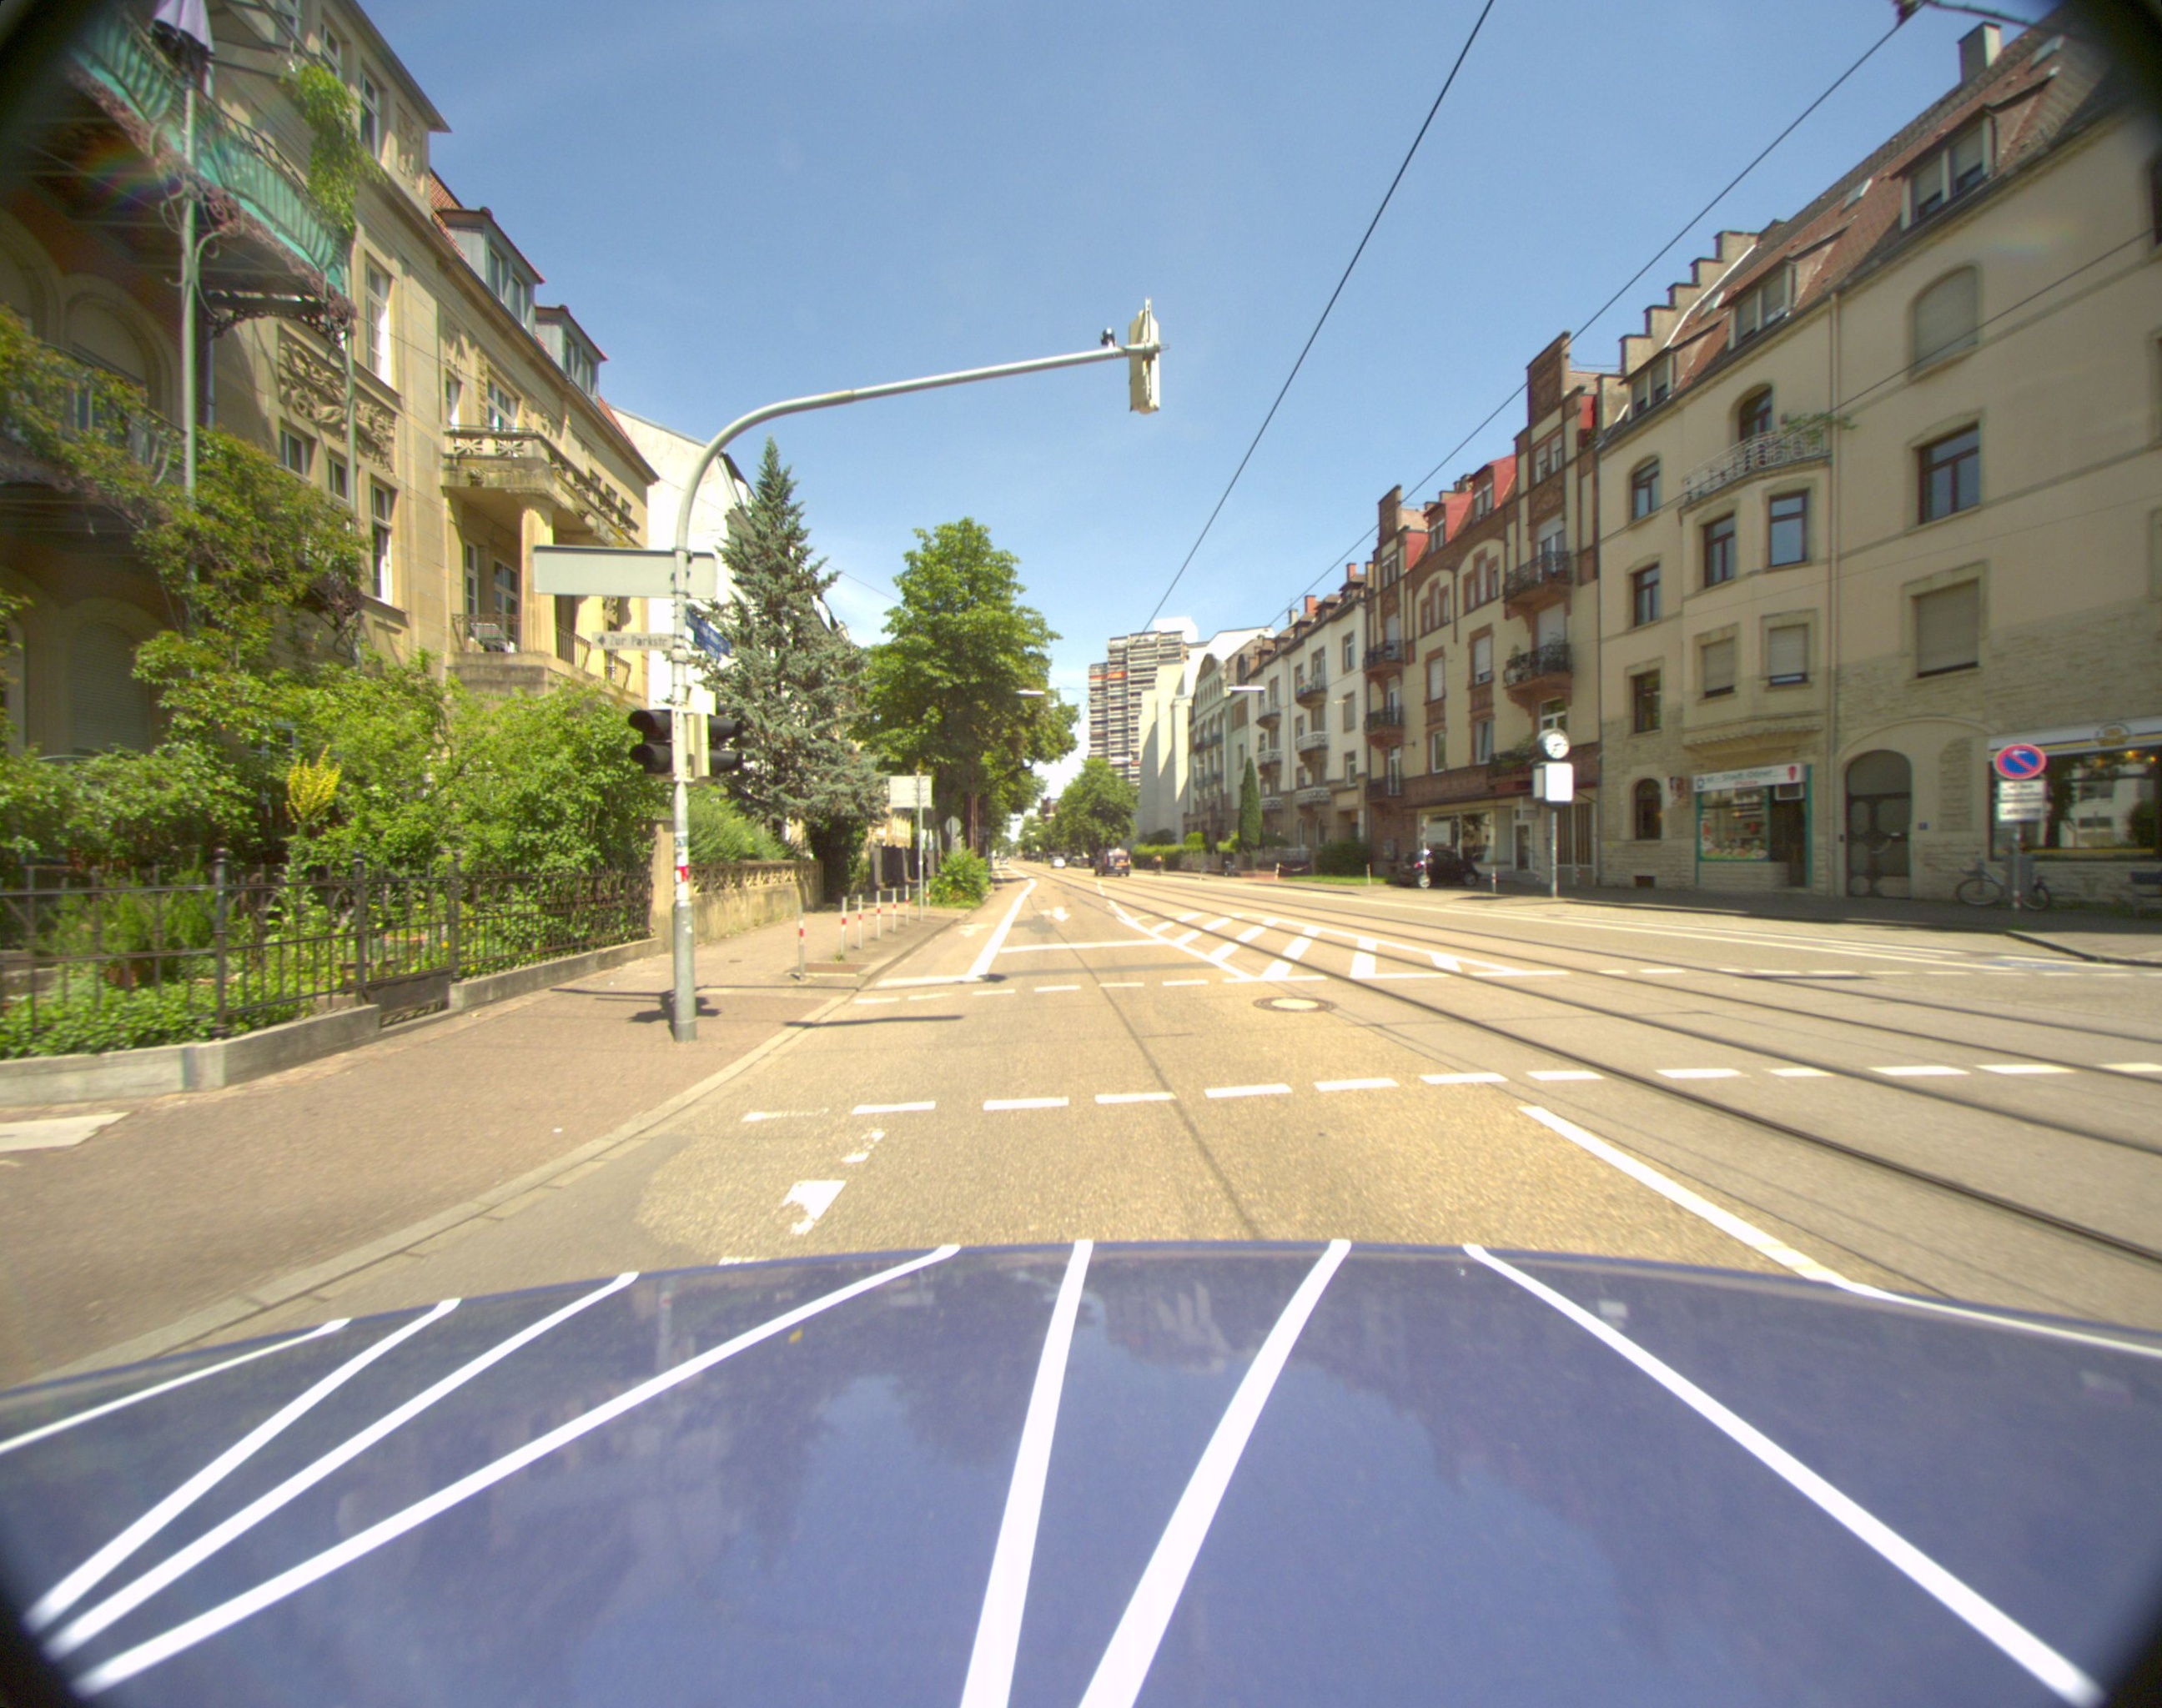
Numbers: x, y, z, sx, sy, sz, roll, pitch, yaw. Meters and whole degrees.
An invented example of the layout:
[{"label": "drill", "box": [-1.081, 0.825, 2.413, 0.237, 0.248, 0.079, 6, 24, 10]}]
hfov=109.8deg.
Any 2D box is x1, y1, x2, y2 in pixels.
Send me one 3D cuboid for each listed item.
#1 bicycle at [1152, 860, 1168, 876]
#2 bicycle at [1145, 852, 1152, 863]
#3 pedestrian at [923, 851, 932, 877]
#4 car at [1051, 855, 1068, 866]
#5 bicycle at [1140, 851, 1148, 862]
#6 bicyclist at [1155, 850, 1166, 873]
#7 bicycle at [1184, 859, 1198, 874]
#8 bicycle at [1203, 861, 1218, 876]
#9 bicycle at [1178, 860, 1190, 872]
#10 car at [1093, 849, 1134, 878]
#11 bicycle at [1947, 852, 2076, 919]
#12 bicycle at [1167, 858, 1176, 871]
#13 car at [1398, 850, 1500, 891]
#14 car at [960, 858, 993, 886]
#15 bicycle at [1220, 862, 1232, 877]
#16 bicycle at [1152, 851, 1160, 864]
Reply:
[{"label": "bicycle", "box": [5.721, 1.005, 54.957, 0.646, 1.068, 2.185, -1, 0, -7]}, {"label": "bicycle", "box": [6.494, 0.320, 73.267, 0.340, 1.062, 1.726, -2, 1, -7]}, {"label": "pedestrian", "box": [-10.175, 0.640, 50.458, 0.548, 1.683, 0.754, 0, 1, -7]}, {"label": "car", "box": [-2.770, 0.815, 98.533, 1.714, 1.404, 3.821, 1, 1, -9]}, {"label": "bicycle", "box": [6.245, 0.255, 75.236, 0.340, 1.062, 1.726, -2, 1, -7]}, {"label": "bicyclist", "box": [5.733, 0.551, 54.895, 0.612, 1.653, 0.579, -1, 1, -7]}, {"label": "bicycle", "box": [8.345, 0.959, 57.767, 0.494, 1.090, 2.045, -2, 1, -7]}, {"label": "bicycle", "box": [8.990, 0.988, 52.802, 0.463, 0.943, 1.953, -2, 0, -7]}, {"label": "bicycle", "box": [8.121, 0.932, 59.927, 0.400, 0.965, 2.045, -2, 0, -7]}, {"label": "car", "box": [2.318, 0.660, 55.303, 1.850, 1.926, 4.817, 0, 1, -12]}, {"label": "bicycle", "box": [18.723, 0.592, 15.365, 0.454, 1.218, 2.081, -1, 1, 13]}, {"label": "bicycle", "box": [7.806, 0.885, 65.441, 0.290, 1.040, 1.898, -2, 1, -7]}, {"label": "car", "box": [14.774, 0.647, 30.617, 3.363, 1.463, 1.529, -2, 1, -3]}, {"label": "car", "box": [-5.876, 0.980, 43.075, 1.688, 1.453, 3.997, 1, 1, -6]}, {"label": "bicycle", "box": [9.347, 1.005, 49.122, 0.253, 0.911, 1.613, -2, 1, -7]}, {"label": "bicycle", "box": [6.988, 0.338, 71.078, 0.340, 1.157, 1.931, -2, 1, -7]}]
